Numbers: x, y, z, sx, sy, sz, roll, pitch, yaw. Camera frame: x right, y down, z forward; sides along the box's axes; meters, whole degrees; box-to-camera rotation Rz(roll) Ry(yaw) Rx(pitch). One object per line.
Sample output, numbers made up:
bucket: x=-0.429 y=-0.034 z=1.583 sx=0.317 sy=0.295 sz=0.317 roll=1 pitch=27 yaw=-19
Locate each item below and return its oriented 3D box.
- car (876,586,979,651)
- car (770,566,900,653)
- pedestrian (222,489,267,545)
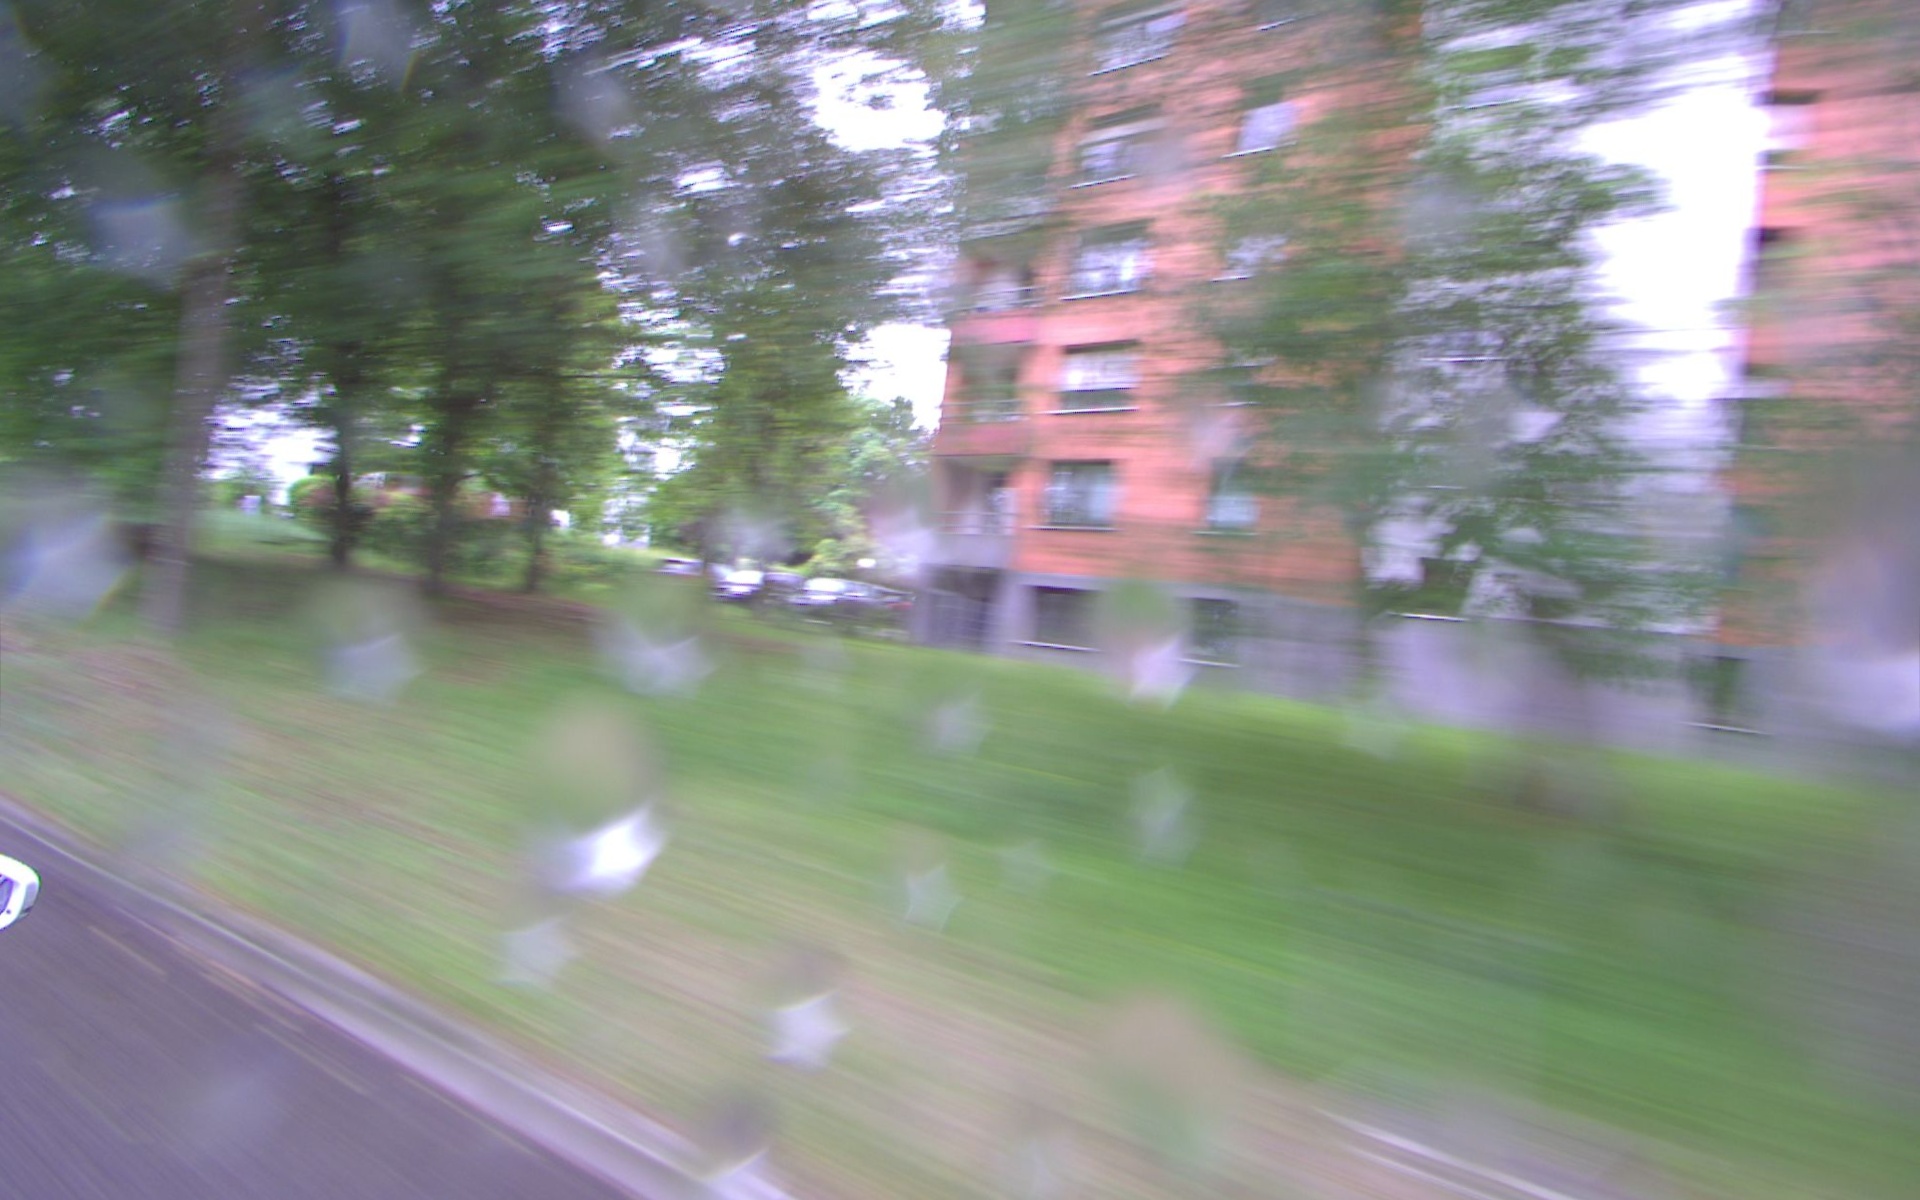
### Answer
car: x=-1.227 y=0.781 z=40.026 sx=1.967 sy=2.037 sz=3.993 roll=8 pitch=-1 yaw=33
car: x=-3.592 y=0.336 z=29.473 sx=1.592 sy=2.037 sz=3.737 roll=8 pitch=-1 yaw=31
pedestrian: x=-17.920 y=-2.073 z=25.209 sx=0.615 sy=1.300 sz=0.654 roll=7 pitch=1 yaw=34
